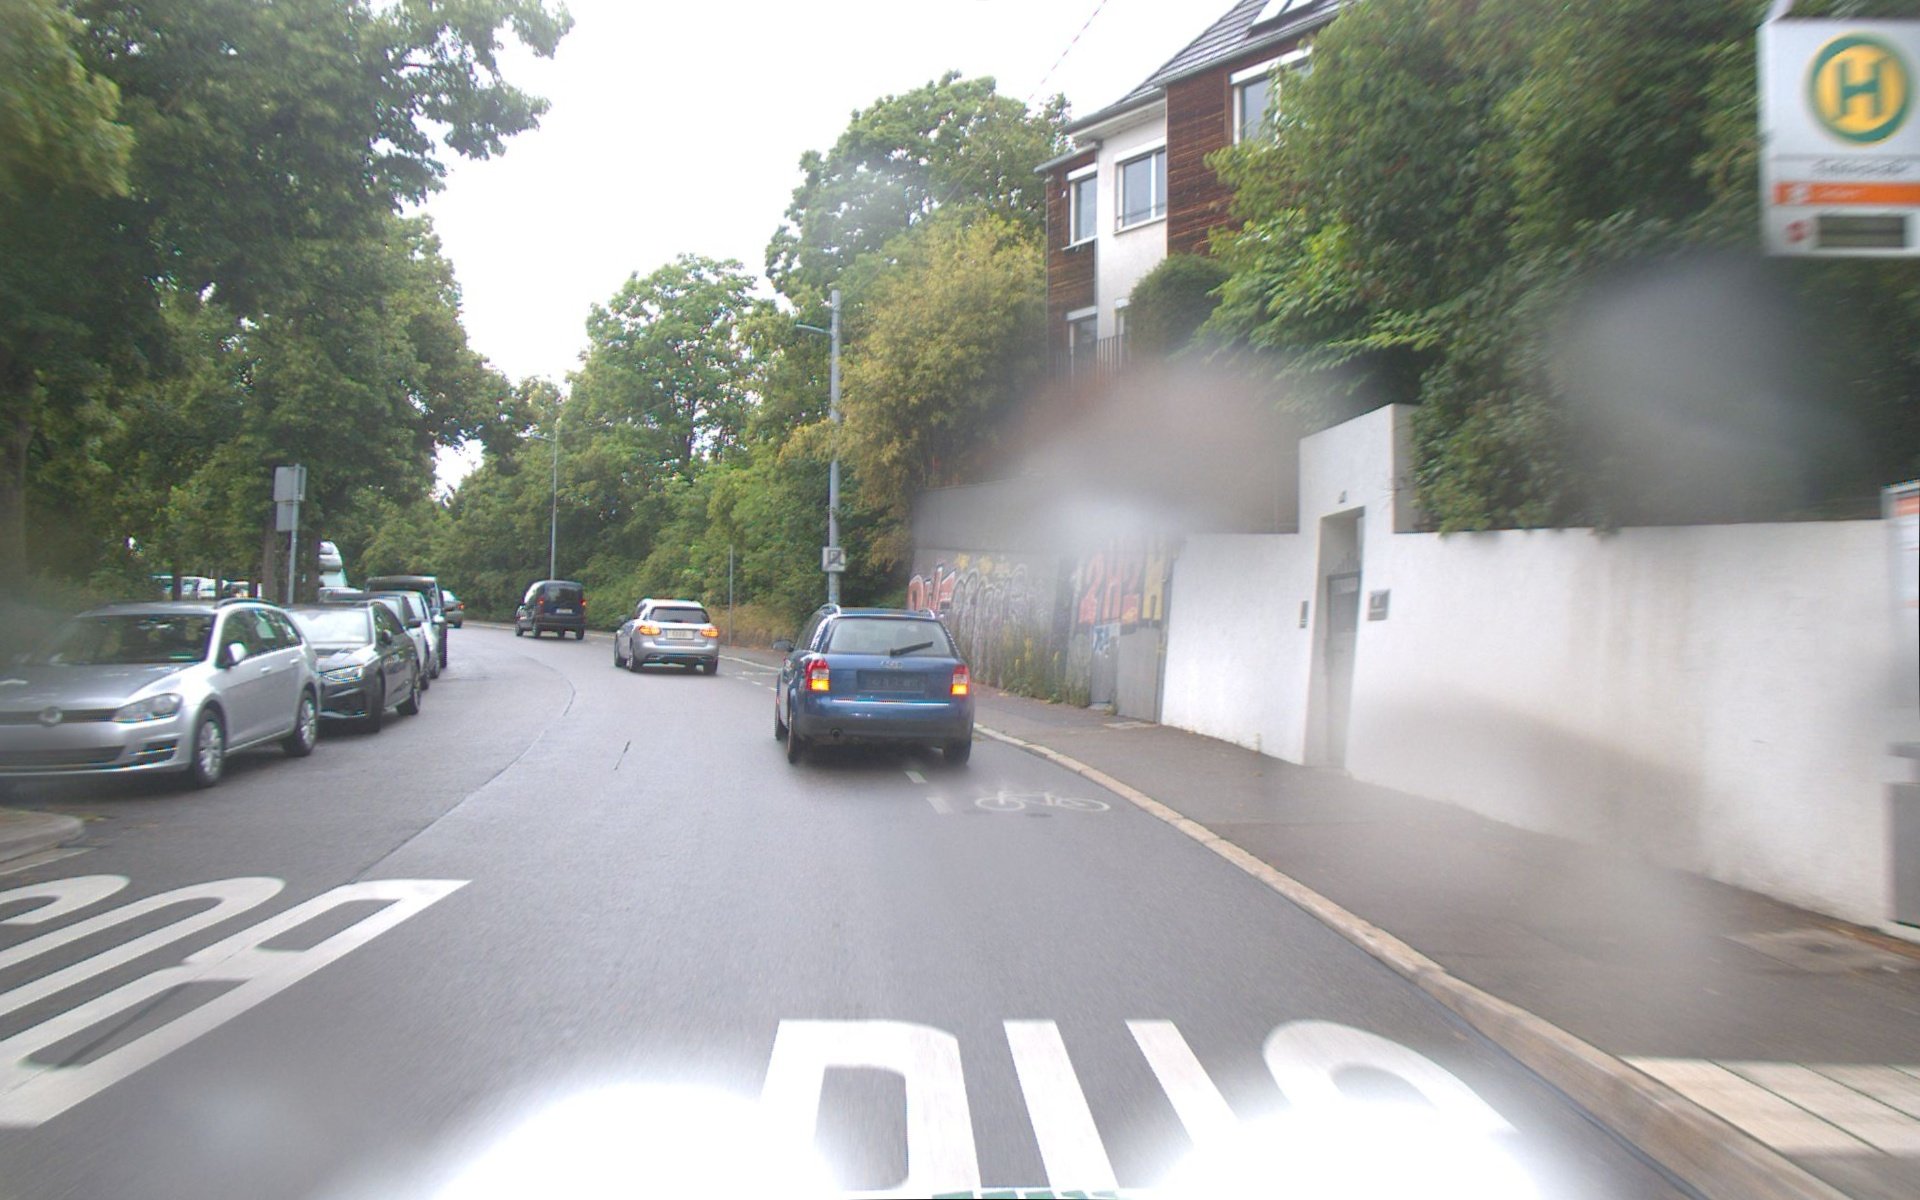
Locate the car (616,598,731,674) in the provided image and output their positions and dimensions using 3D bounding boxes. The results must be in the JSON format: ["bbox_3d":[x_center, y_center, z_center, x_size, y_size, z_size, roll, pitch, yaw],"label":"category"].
[{"bbox_3d":[-6.085,0.712,34.746,1.878,1.412,4.331,3,-1,-16],"label":"car"}]

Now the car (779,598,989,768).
[{"bbox_3d":[-0.875,0.747,16.441,1.743,1.464,3.993,1,-1,-7],"label":"car"}]

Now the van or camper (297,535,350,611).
[{"bbox_3d":[-23.402,-0.966,60.744,1.755,2.697,3.963,-1,0,-22],"label":"van or camper"}]

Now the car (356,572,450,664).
[{"bbox_3d":[-12.155,0.379,36.291,1.807,1.876,3.884,-1,0,-17],"label":"car"}]

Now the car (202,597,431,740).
[{"bbox_3d":[-7.323,0.708,19.189,1.643,1.451,3.991,-1,0,-9],"label":"car"}]

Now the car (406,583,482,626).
[{"bbox_3d":[-20.477,0.186,65.535,1.751,1.597,3.981,-1,0,-35],"label":"car"}]

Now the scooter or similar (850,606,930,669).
[{"bbox_3d":[-1.689,0.906,39.814,1.799,1.338,0.599,5,-3,-5],"label":"scooter or similar"}]

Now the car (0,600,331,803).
[{"bbox_3d":[-6.769,0.740,14.015,1.641,1.451,3.996,-1,0,-5],"label":"car"}]

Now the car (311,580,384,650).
[{"bbox_3d":[-18.853,0.450,50.820,1.966,2.049,3.972,-1,0,-22],"label":"car"}]

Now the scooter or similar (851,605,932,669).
[{"bbox_3d":[-1.628,0.876,39.122,1.799,1.338,0.599,5,-3,-5],"label":"scooter or similar"}]

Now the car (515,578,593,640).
[{"bbox_3d":[-13.318,0.275,54.130,1.709,1.927,4.023,-1,0,-25],"label":"car"}]

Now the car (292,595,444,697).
[{"bbox_3d":[-9.241,0.667,26.091,1.644,1.451,3.989,-1,0,-11],"label":"car"}]

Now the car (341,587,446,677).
[{"bbox_3d":[-10.710,0.568,31.445,1.646,1.579,3.885,-1,0,-16],"label":"car"}]
